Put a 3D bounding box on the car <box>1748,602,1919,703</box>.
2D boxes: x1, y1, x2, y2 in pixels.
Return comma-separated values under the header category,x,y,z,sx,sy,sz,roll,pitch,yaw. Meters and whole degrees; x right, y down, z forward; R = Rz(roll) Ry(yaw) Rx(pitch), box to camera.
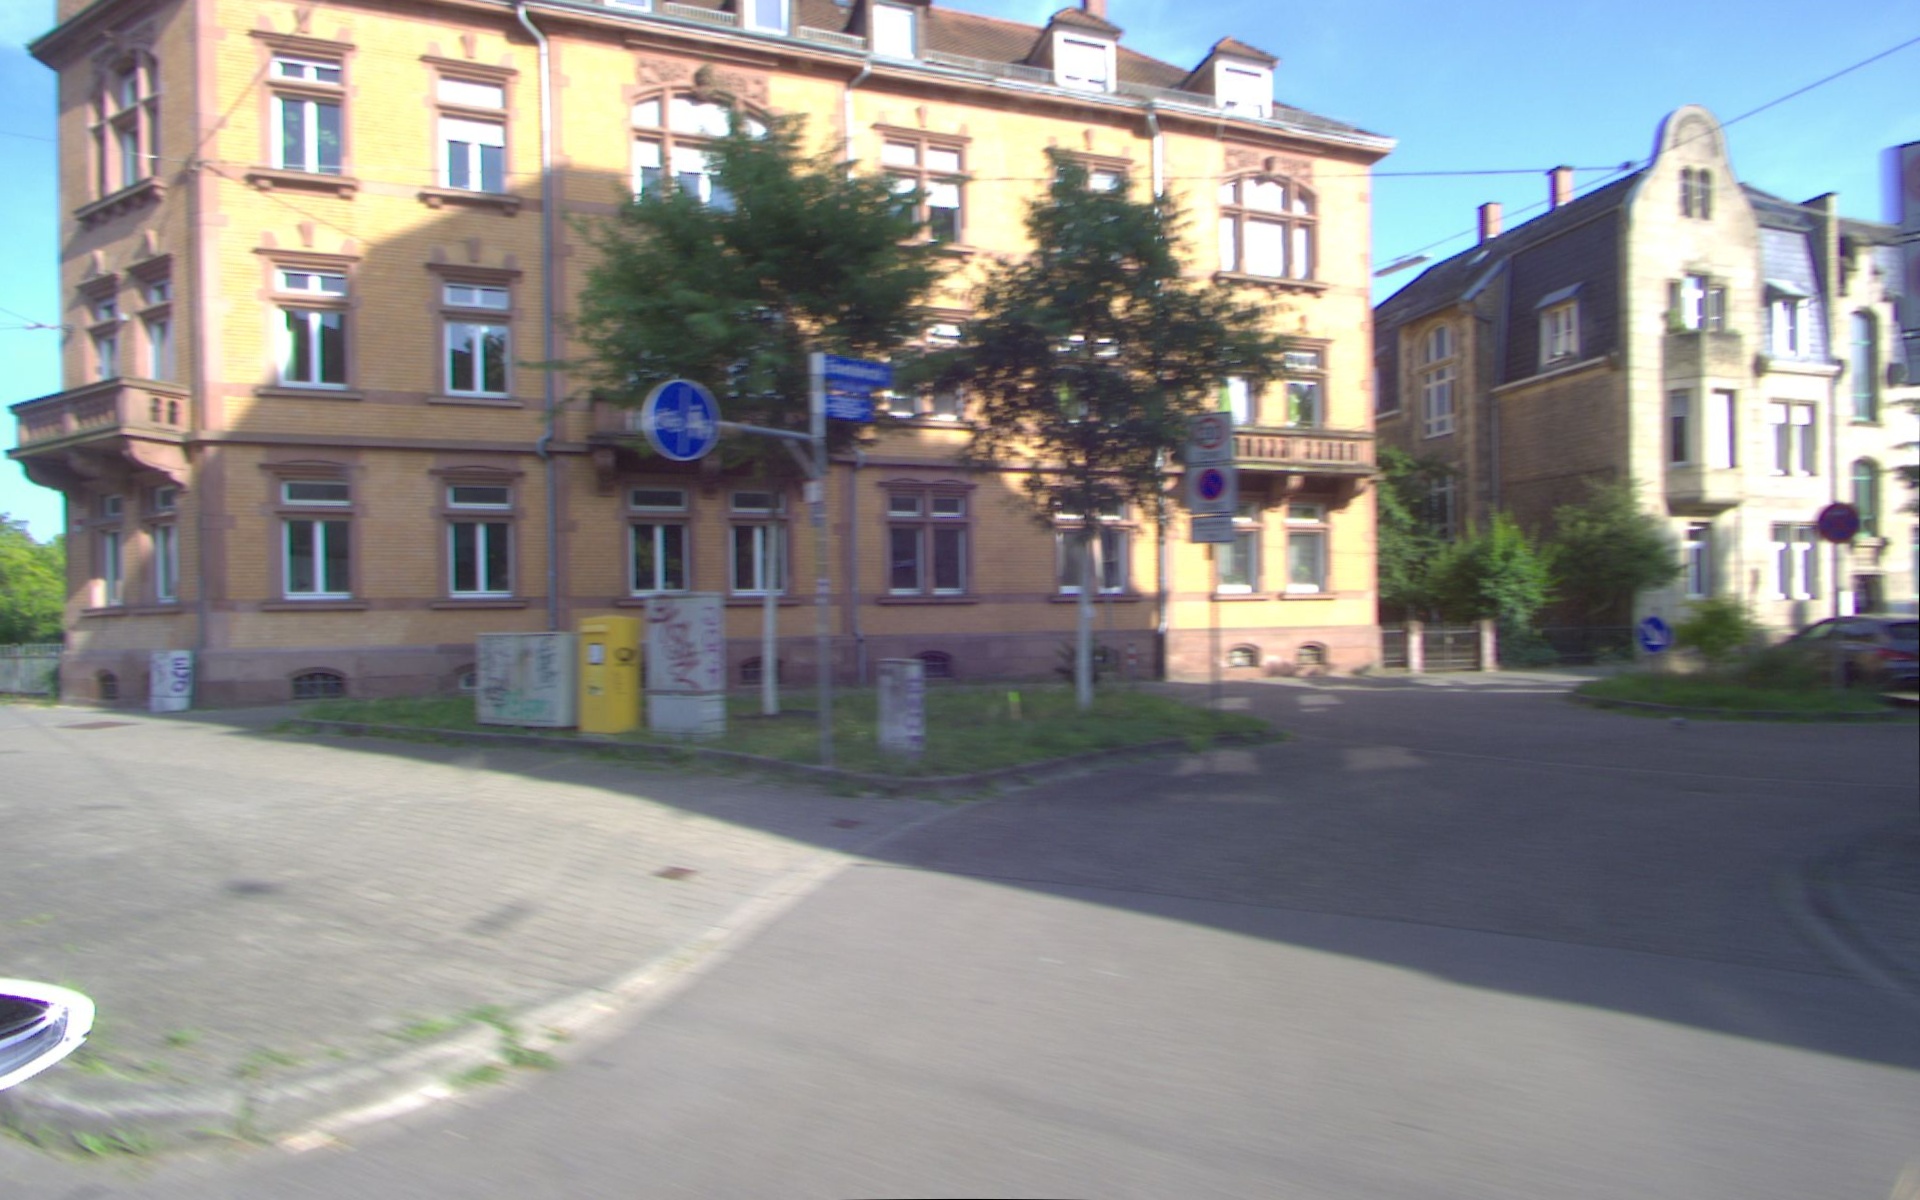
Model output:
category,x,y,z,sx,sy,sz,roll,pitch,yaw
car,15.614,0.862,17.102,1.964,1.533,4.447,-1,-2,18
